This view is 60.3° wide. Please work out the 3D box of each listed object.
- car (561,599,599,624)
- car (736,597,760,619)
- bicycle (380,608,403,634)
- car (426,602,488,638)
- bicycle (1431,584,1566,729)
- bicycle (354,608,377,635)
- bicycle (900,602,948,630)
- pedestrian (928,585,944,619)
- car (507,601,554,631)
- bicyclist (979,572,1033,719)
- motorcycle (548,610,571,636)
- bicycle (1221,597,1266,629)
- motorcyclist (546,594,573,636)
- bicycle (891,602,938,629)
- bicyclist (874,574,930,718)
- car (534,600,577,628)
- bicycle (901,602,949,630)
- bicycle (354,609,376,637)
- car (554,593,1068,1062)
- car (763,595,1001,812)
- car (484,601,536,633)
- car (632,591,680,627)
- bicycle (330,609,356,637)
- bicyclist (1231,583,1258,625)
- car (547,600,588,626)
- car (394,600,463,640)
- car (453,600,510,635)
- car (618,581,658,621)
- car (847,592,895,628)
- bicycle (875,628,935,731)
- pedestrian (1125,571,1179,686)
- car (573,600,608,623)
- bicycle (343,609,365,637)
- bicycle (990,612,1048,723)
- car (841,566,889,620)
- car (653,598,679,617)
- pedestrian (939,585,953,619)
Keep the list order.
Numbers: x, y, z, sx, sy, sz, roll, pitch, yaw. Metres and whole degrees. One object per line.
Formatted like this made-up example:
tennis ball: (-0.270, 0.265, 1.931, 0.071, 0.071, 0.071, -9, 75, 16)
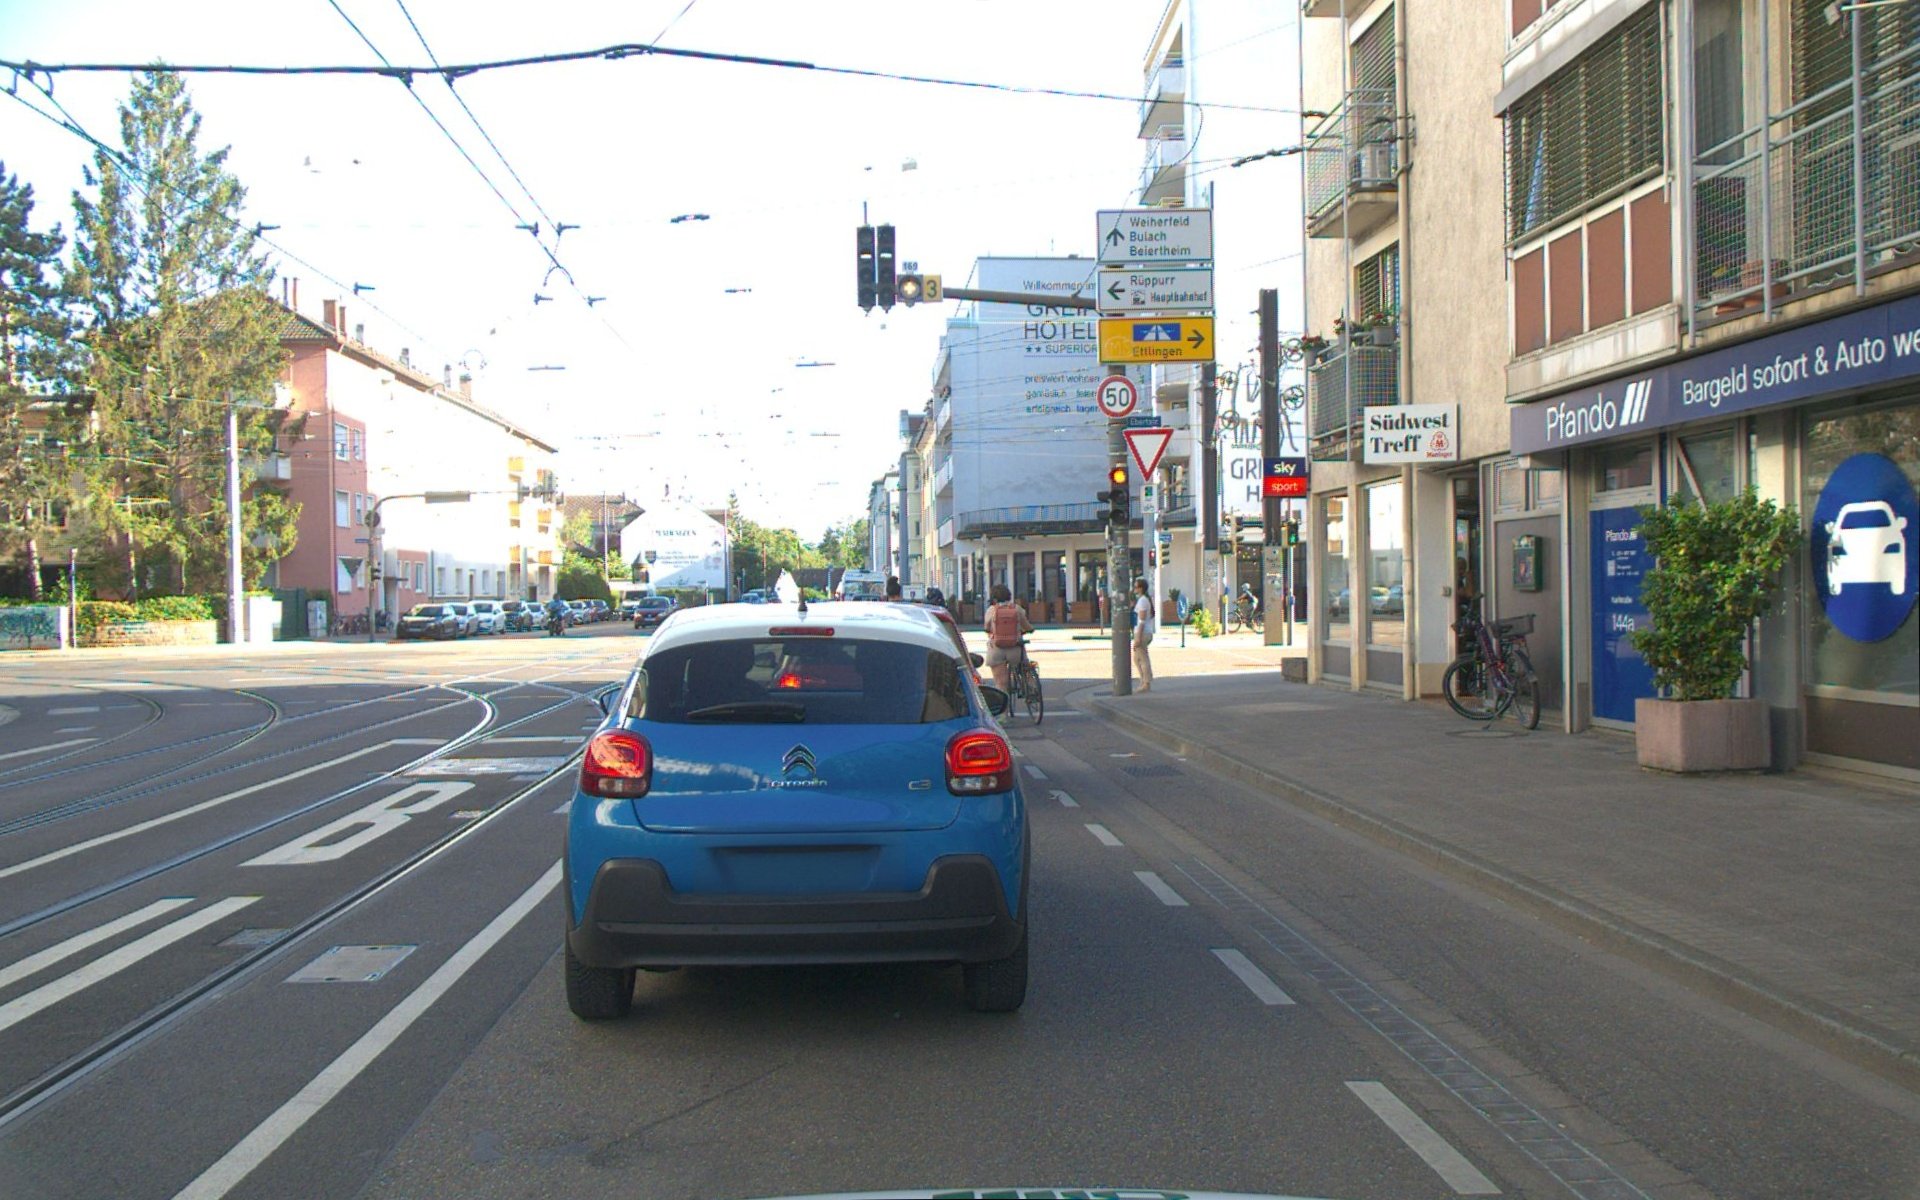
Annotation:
car: (-24.856, 0.750, 108.268, 1.913, 1.545, 3.995, -1, 0, -6)
car: (-21.820, 0.808, 170.498, 2.293, 2.074, 5.044, -1, 0, -6)
bicycle: (-25.677, 0.941, 74.698, 0.597, 1.101, 1.908, -1, 0, -7)
car: (-22.558, 0.876, 74.261, 1.913, 1.545, 4.040, -1, 0, -6)
bicycle: (5.111, 0.502, 15.826, 0.627, 1.286, 1.910, -1, 0, -1)
bicycle: (-25.879, 0.928, 71.992, 0.527, 1.101, 1.908, -1, 0, -7)
bicycle: (-1.450, 0.662, 67.091, 1.868, 1.083, 0.641, -1, 0, -8)
pedestrian: (-1.015, 0.087, 70.245, 0.514, 1.445, 0.547, -1, 0, 19)
car: (-23.769, 0.856, 91.573, 1.913, 1.545, 3.995, -1, 0, -6)
bicyclist: (0.565, 0.549, 20.602, 0.588, 1.776, 1.084, -1, 0, -1)
motorcycle: (-16.230, 0.939, 67.027, 0.738, 0.993, 2.092, -1, 0, -9)
bicycle: (10.025, 0.462, 58.481, 1.464, 1.110, 0.603, -1, 0, 37)
motorcyclist: (-16.210, 0.606, 66.959, 0.973, 1.659, 0.737, -1, 0, -10)
bicycle: (-1.865, 0.640, 68.277, 1.868, 1.083, 0.641, -1, 0, -8)
bicyclist: (-0.690, 0.535, 19.622, 0.604, 1.658, 0.759, -1, 0, -5)
car: (-23.940, 0.823, 97.998, 1.913, 1.545, 3.995, -1, 0, -6)
bicycle: (-1.398, 0.637, 65.786, 1.868, 1.083, 0.641, -1, 0, -8)
bicycle: (-24.234, 0.936, 67.421, 0.527, 1.101, 1.905, -1, 0, -11)
car: (-0.614, 0.729, 7.357, 1.647, 1.488, 3.997, 1, 0, -4)
car: (-0.681, 0.724, 13.566, 1.647, 1.488, 3.997, 1, 0, -4)
car: (-23.239, 0.840, 85.524, 1.913, 1.545, 3.995, -1, 0, -6)
car: (-14.682, 0.412, 80.006, 1.967, 1.656, 5.045, -1, 0, -7)
bicycle: (-24.987, 0.919, 66.997, 0.628, 1.101, 1.905, -1, 0, -11)
bicyclist: (10.057, 0.155, 58.468, 0.715, 1.459, 0.603, -1, 0, 37)
car: (-24.414, 0.808, 102.995, 1.913, 1.545, 3.995, -1, 0, -6)
car: (-22.019, 0.791, 68.657, 1.913, 1.545, 3.995, -1, 0, -6)
car: (-22.761, 0.820, 78.867, 1.913, 1.545, 3.995, -1, 0, -6)
car: (-23.230, 0.068, 119.583, 2.446, 2.759, 5.828, -1, 0, -7)
car: (-3.681, 0.381, 67.746, 1.752, 1.383, 3.909, -1, 0, -6)
bicycle: (-0.675, 0.918, 19.727, 0.604, 1.123, 1.884, -1, 0, -5)
pedestrian: (2.817, 0.410, 24.349, 0.735, 1.663, 0.740, -1, 0, 5)
car: (-25.573, 0.789, 114.599, 1.913, 1.545, 3.995, -1, 0, -6)
bicycle: (-24.593, 0.929, 67.122, 0.527, 1.101, 1.905, -1, 0, -11)
bicycle: (0.718, 0.812, 20.643, 0.601, 1.286, 1.910, -1, 0, -1)
car: (-4.236, -0.320, 73.185, 2.039, 2.309, 5.646, 0, 0, -4)
car: (-25.582, 0.644, 144.171, 1.913, 1.545, 3.995, -1, 0, -6)
pedestrian: (-0.590, 0.082, 70.000, 0.459, 1.445, 0.525, -1, 0, -13)
